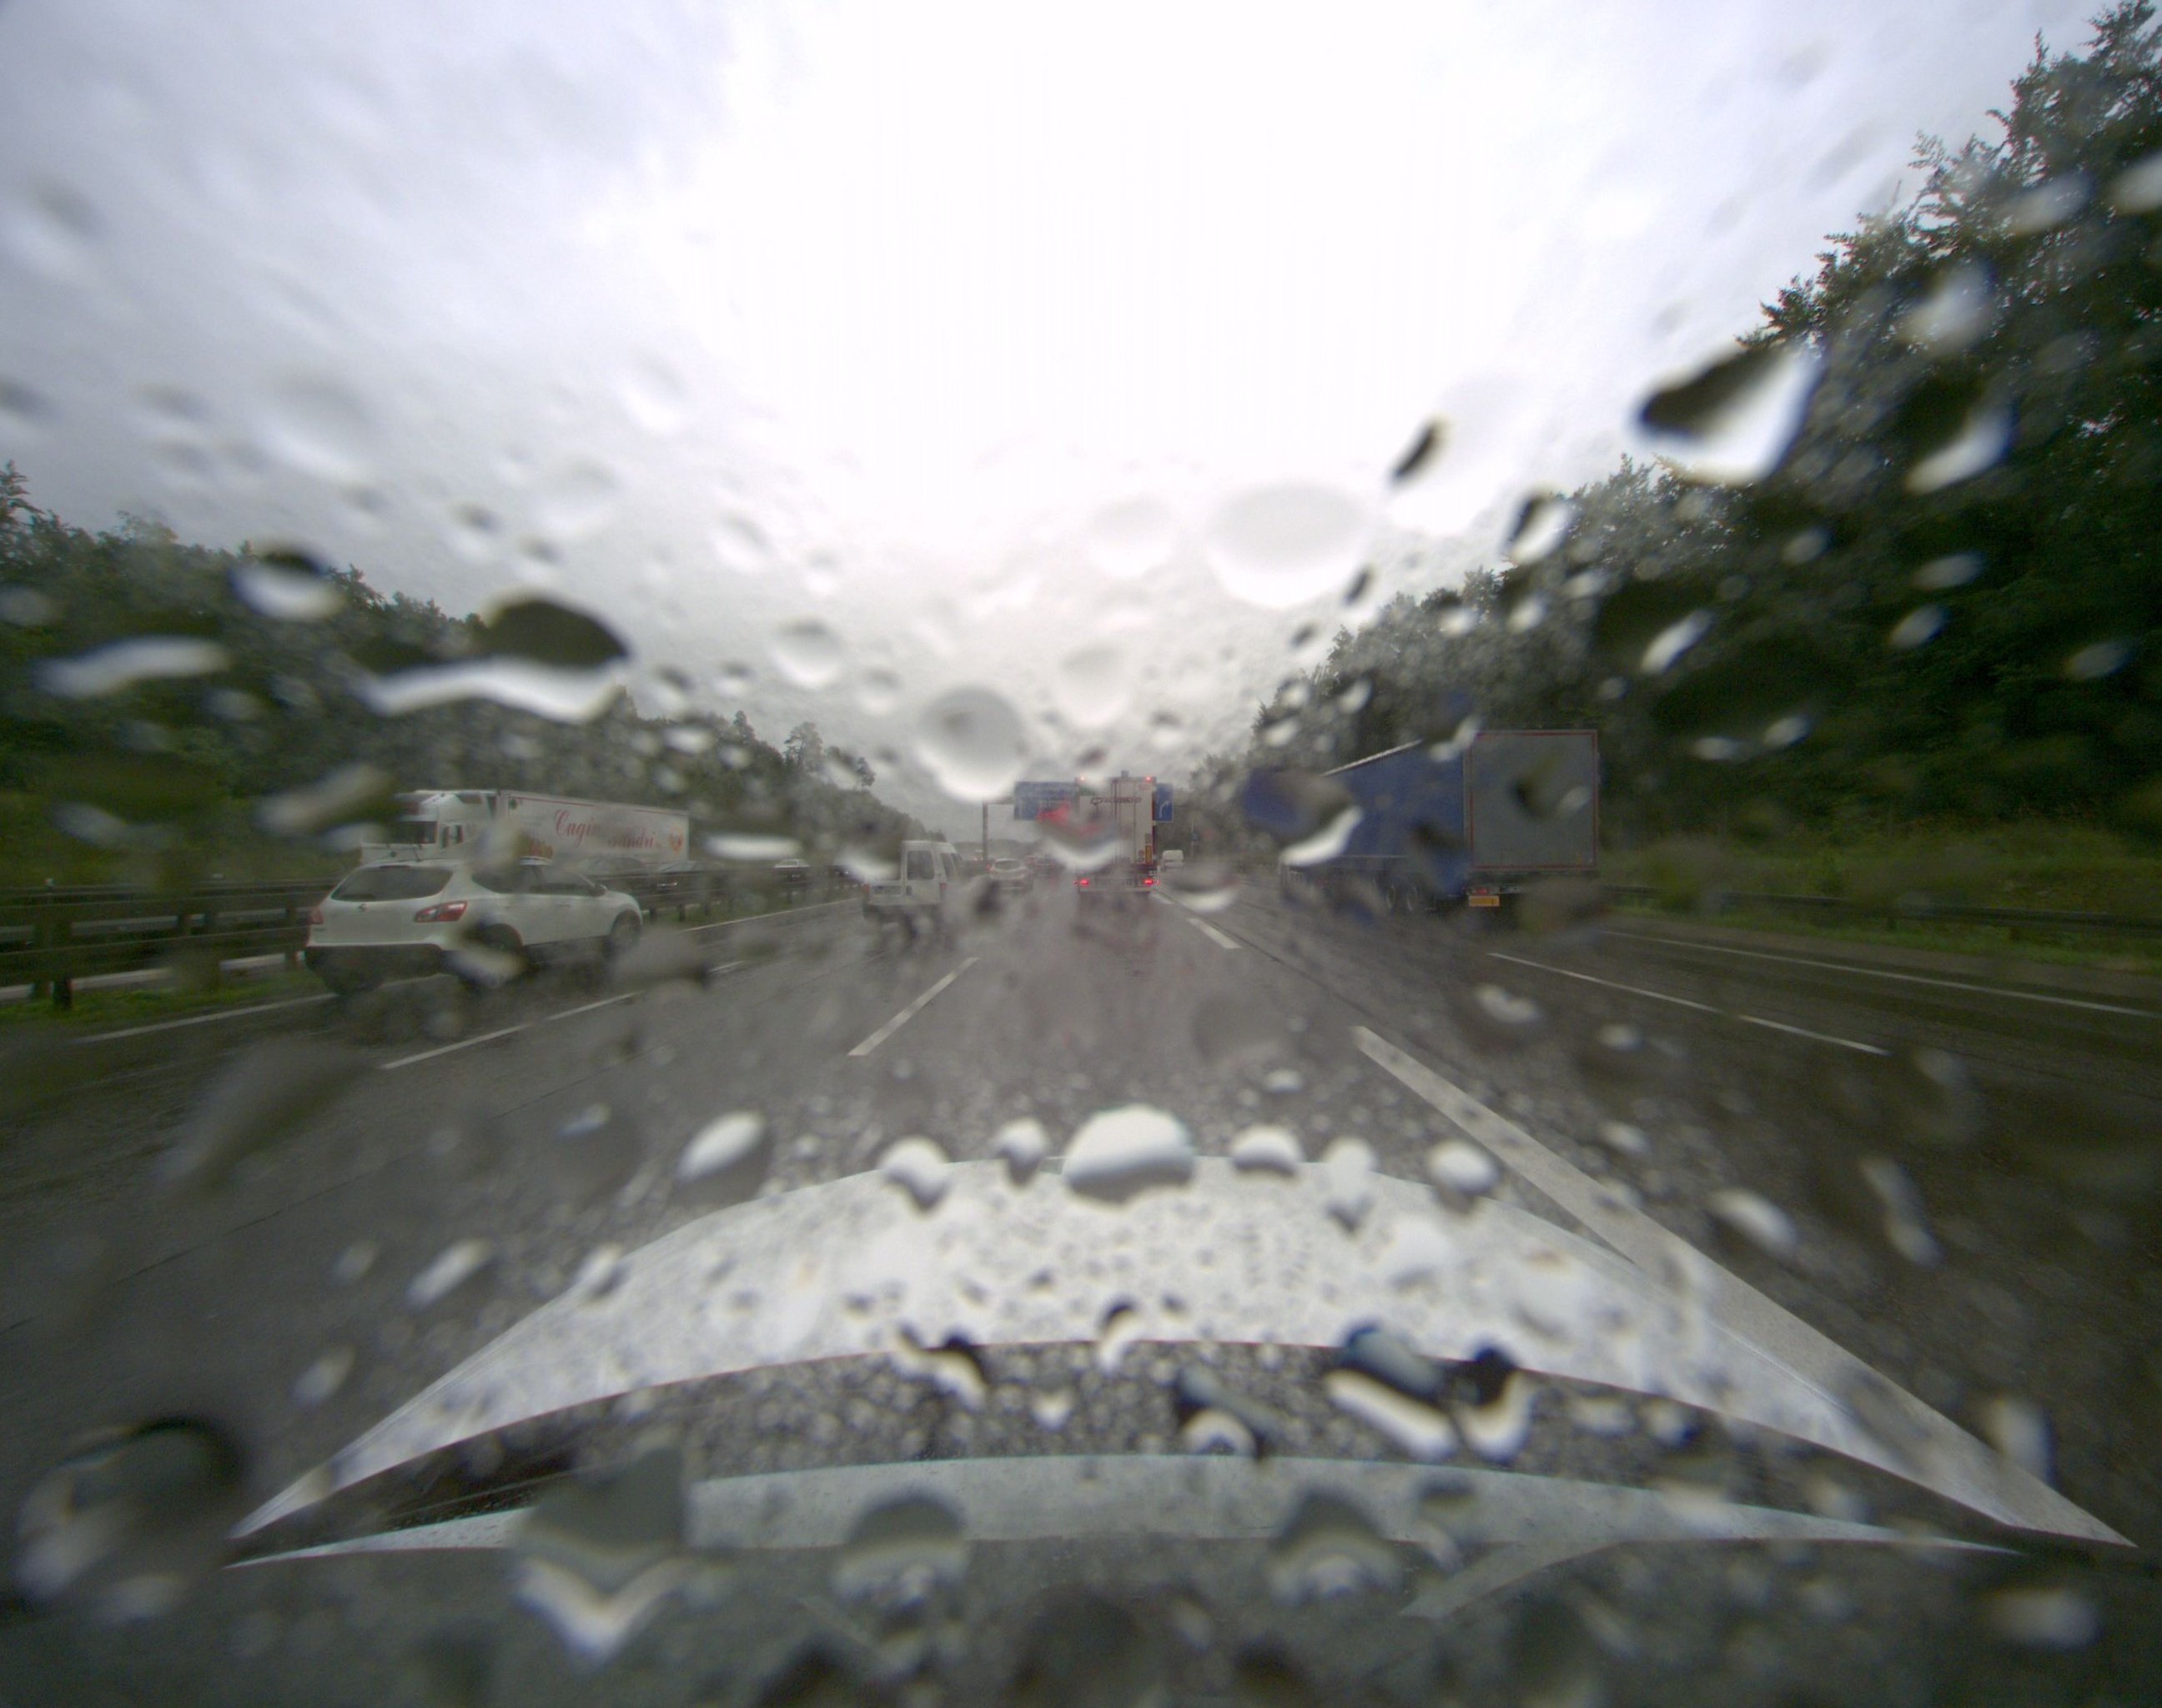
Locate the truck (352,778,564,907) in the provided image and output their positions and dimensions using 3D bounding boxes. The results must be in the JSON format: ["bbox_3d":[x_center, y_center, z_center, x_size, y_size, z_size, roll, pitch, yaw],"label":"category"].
[{"bbox_3d":[-21.497,-0.352,28.637,2.532,4.025,6.324,0,0,0],"label":"truck"}]

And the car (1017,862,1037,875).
[{"bbox_3d":[-6.161,1.599,92.854,1.839,1.330,4.468,0,0,2],"label":"car"}]

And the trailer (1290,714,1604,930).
[{"bbox_3d":[8.587,-0.584,22.036,2.544,4.014,13.717,0,0,1],"label":"trailer"}]

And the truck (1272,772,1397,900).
[{"bbox_3d":[8.710,-0.574,28.717,2.592,4.014,6.013,0,0,1],"label":"truck"}]

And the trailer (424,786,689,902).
[{"bbox_3d":[-21.579,-0.342,35.261,2.532,4.025,13.848,0,0,0],"label":"trailer"}]

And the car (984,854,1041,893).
[{"bbox_3d":[-3.035,0.839,36.868,1.837,1.591,4.077,0,0,5],"label":"car"}]

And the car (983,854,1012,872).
[{"bbox_3d":[-6.871,0.727,67.249,1.839,1.330,4.468,0,0,2],"label":"car"}]

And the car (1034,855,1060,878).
[{"bbox_3d":[-2.522,0.915,60.724,1.840,1.591,4.464,0,0,-1],"label":"car"}]

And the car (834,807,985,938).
[{"bbox_3d":[-3.692,0.344,18.584,2.204,2.573,5.018,0,0,2],"label":"car"}]

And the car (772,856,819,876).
[{"bbox_3d":[-21.748,0.904,62.270,1.853,1.494,4.564,0,0,2],"label":"car"}]

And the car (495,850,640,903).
[{"bbox_3d":[-17.604,0.732,28.261,1.940,1.677,4.710,0,0,2],"label":"car"}]

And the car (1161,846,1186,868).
[{"bbox_3d":[8.617,0.262,76.196,1.982,1.921,4.770,0,0,2],"label":"car"}]

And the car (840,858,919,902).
[{"bbox_3d":[-7.932,0.970,32.446,1.838,1.591,4.469,0,0,2],"label":"car"}]

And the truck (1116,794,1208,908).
[{"bbox_3d":[2.944,-0.070,31.155,2.859,3.562,11.314,0,0,4],"label":"truck"}]

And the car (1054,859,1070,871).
[{"bbox_3d":[-2.247,1.287,96.135,1.840,1.330,4.465,0,0,-1],"label":"car"}]

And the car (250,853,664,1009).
[{"bbox_3d":[-7.638,0.797,10.701,1.838,1.591,4.469,0,0,2],"label":"car"}]
